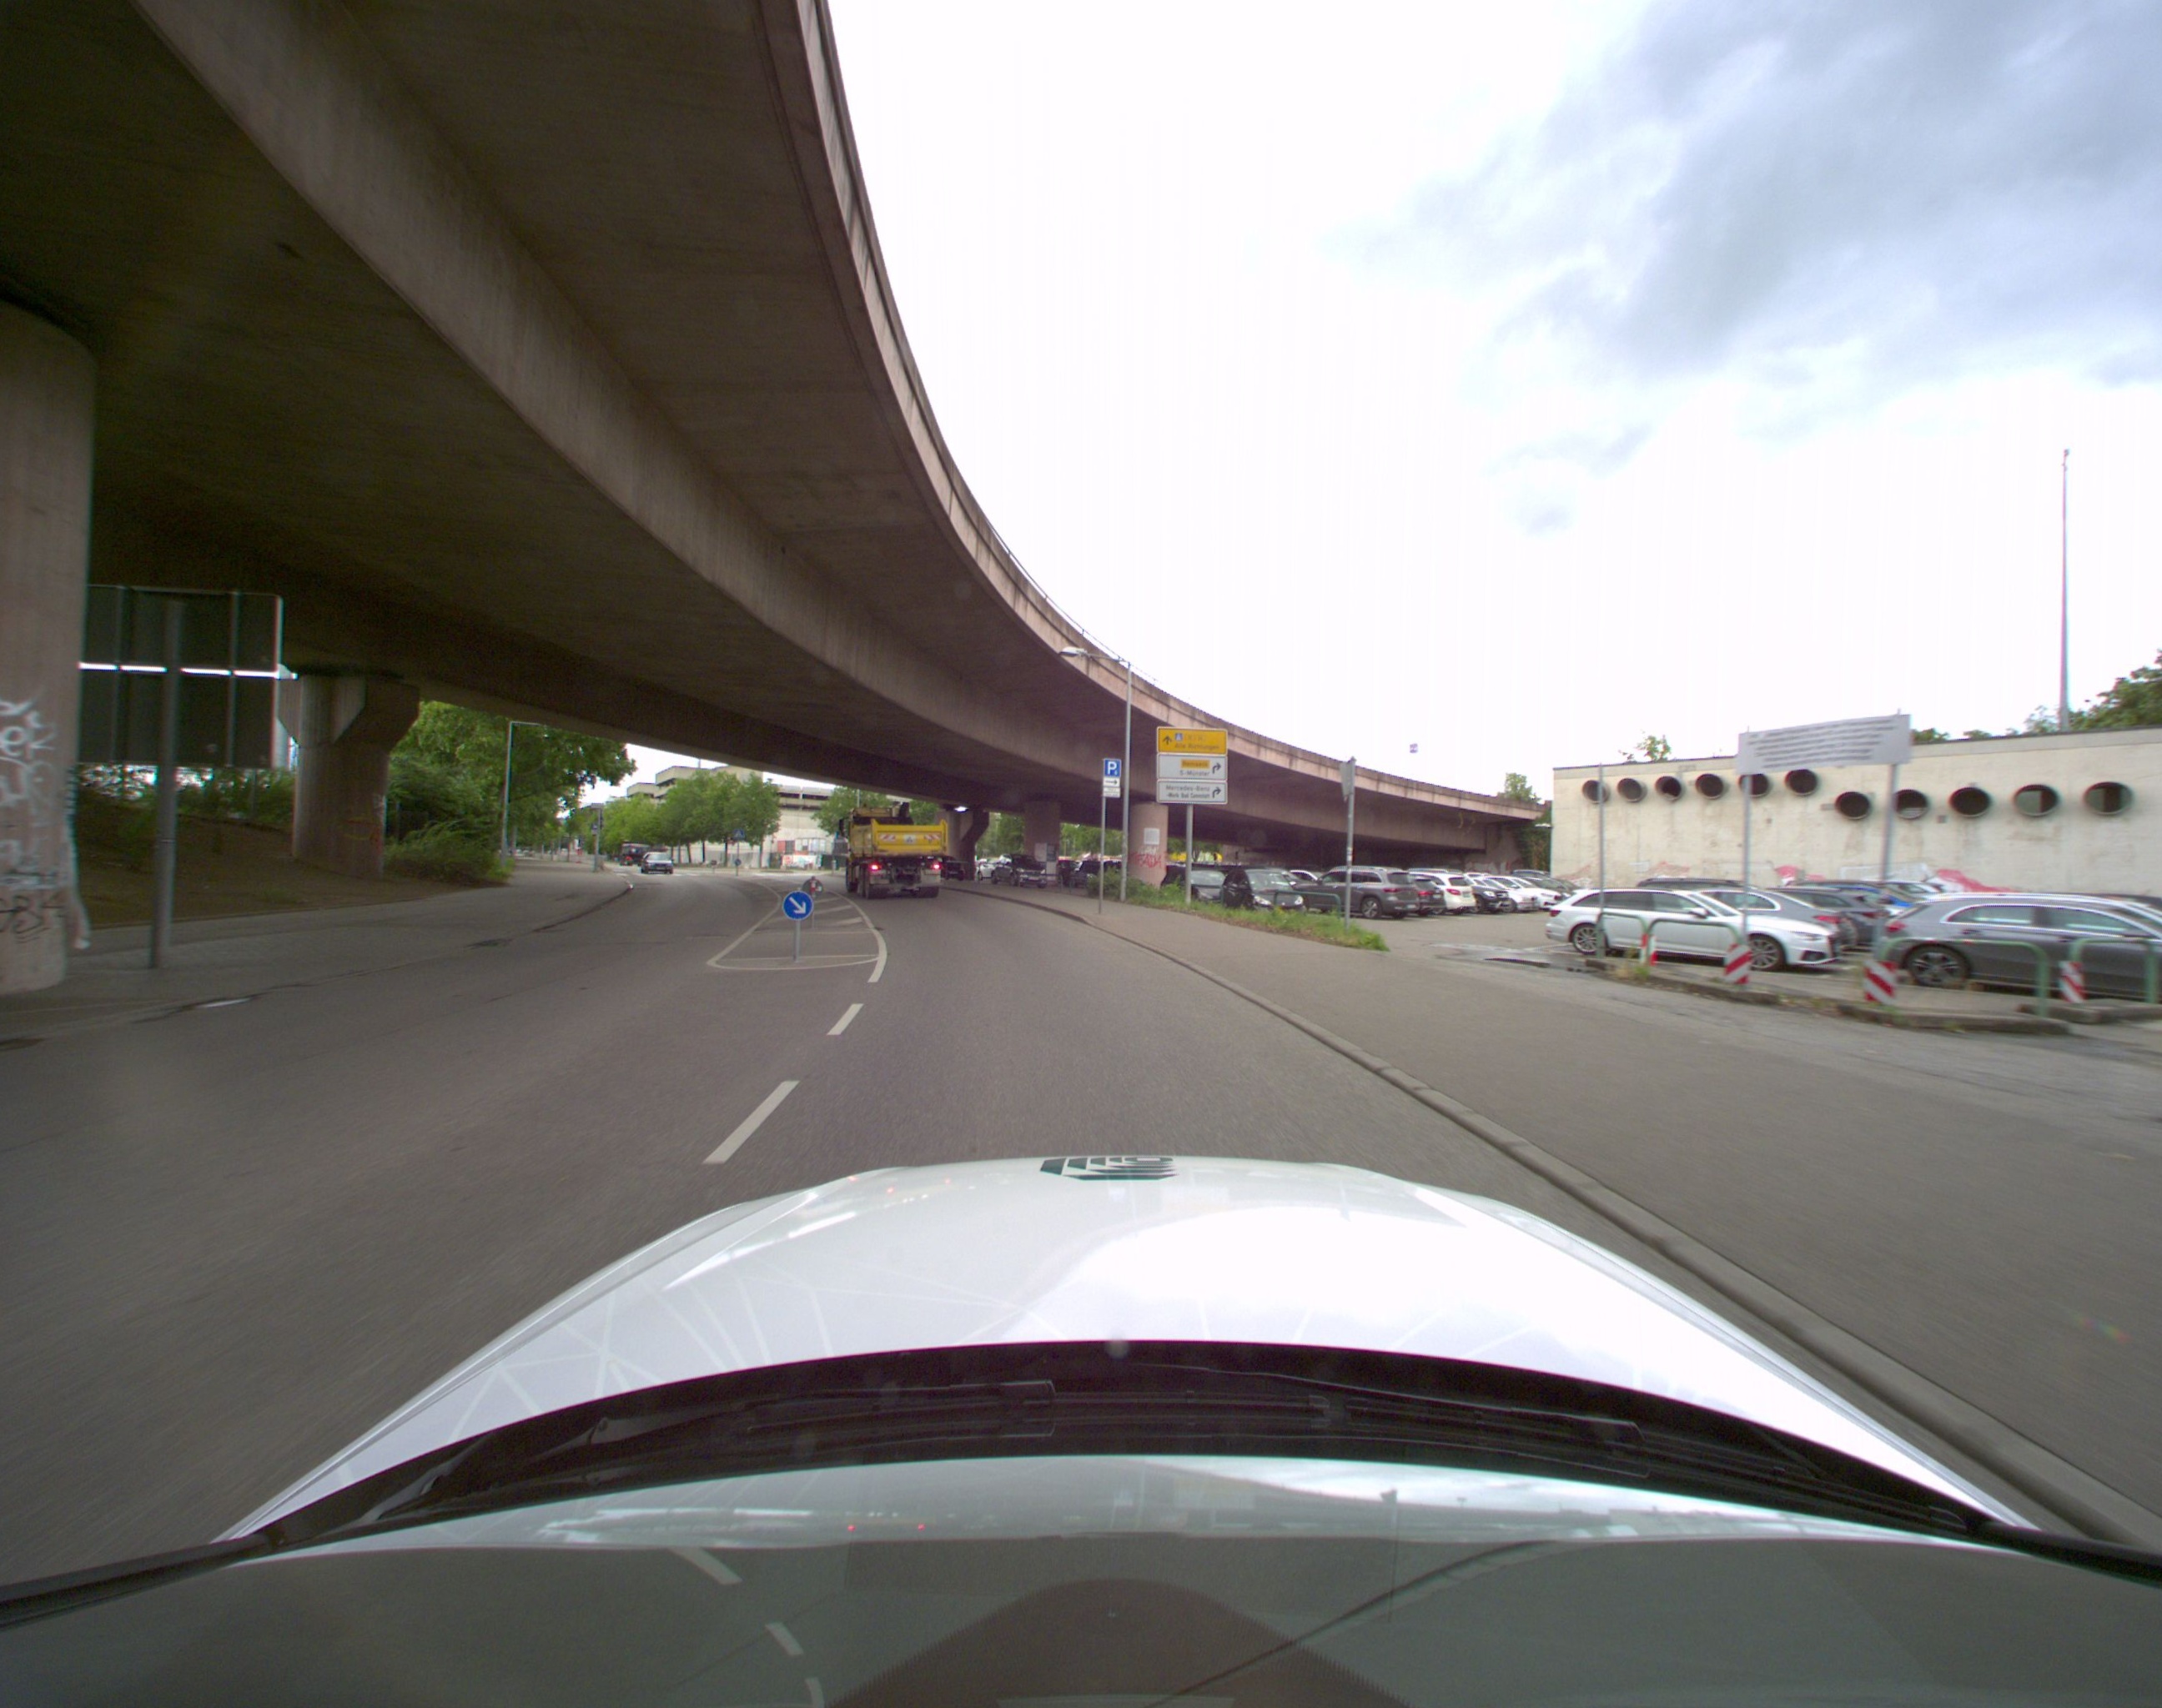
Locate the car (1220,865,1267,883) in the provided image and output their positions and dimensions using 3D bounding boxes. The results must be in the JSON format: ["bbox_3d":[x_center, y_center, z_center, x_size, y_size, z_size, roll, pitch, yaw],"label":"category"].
[{"bbox_3d":[14.519,1.771,72.989,1.768,1.478,3.814,2,-1,-45],"label":"car"}]

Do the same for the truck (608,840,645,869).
[{"bbox_3d":[-58.718,0.111,105.084,2.696,3.558,7.829,-1,-1,-41],"label":"truck"}]

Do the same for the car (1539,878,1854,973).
[{"bbox_3d":[11.909,1.275,16.104,1.866,1.475,4.636,2,-1,-35],"label":"car"}]

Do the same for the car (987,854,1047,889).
[{"bbox_3d":[-3.082,0.820,38.742,1.615,1.533,3.380,4,-2,-27],"label":"car"}]

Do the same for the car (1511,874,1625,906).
[{"bbox_3d":[22.534,1.646,37.838,1.717,1.306,4.213,2,-1,-38],"label":"car"}]

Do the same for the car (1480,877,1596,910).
[{"bbox_3d":[20.493,1.727,36.650,1.717,1.306,4.213,2,-1,-38],"label":"car"}]

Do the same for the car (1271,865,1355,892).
[{"bbox_3d":[15.194,1.574,53.498,2.101,1.677,5.048,2,-1,-38],"label":"car"}]

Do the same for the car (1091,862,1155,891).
[{"bbox_3d":[2.570,1.382,50.287,1.847,1.698,3.818,2,-1,-38],"label":"car"}]

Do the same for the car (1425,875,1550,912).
[{"bbox_3d":[16.755,1.596,33.719,1.639,1.363,4.356,2,-1,-38],"label":"car"}]

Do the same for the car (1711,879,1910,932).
[{"bbox_3d":[22.691,1.536,25.485,1.793,1.393,4.386,2,-1,-37],"label":"car"}]

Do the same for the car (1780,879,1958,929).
[{"bbox_3d":[25.429,1.551,26.385,1.777,1.393,3.931,2,-1,-37],"label":"car"}]

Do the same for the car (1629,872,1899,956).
[{"bbox_3d":[15.872,1.292,19.165,1.867,1.628,4.569,2,-1,-37],"label":"car"}]

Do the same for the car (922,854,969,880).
[{"bbox_3d":[-7.846,0.755,47.073,1.615,1.397,3.547,4,-2,-27],"label":"car"}]

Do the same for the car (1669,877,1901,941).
[{"bbox_3d":[19.295,1.430,22.517,1.867,1.444,4.569,2,-1,-37],"label":"car"}]

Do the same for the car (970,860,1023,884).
[{"bbox_3d":[-5.951,1.252,56.884,1.647,1.552,3.963,2,-1,-41],"label":"car"}]

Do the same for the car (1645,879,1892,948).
[{"bbox_3d":[17.453,1.437,20.900,1.867,1.444,4.569,2,-1,-37],"label":"car"}]

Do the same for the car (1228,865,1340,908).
[{"bbox_3d":[8.183,1.274,33.059,1.847,1.593,4.144,2,-1,-38],"label":"car"}]

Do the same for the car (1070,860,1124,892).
[{"bbox_3d":[0.797,1.173,42.546,1.788,1.507,3.839,3,-3,-15],"label":"car"}]

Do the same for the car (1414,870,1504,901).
[{"bbox_3d":[20.802,1.701,44.963,1.847,1.593,4.144,2,-1,-38],"label":"car"}]

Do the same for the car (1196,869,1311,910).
[{"bbox_3d":[6.638,1.328,31.606,1.847,1.421,4.144,2,-1,-38],"label":"car"}]

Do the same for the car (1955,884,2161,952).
[{"bbox_3d":[24.640,1.520,19.815,1.847,1.425,4.394,2,-1,-35],"label":"car"}]

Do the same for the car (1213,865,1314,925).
[{"bbox_3d":[4.750,1.038,21.562,1.541,1.479,2.747,1,-1,-14],"label":"car"}]

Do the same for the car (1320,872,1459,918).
[{"bbox_3d":[10.985,1.412,29.303,1.765,1.449,4.408,2,-1,-38],"label":"car"}]

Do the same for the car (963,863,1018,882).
[{"bbox_3d":[-7.275,1.514,65.559,4.269,1.420,1.493,3,0,-40],"label":"car"}]

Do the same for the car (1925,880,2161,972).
[{"bbox_3d":[19.181,1.314,15.269,1.847,1.513,4.452,2,-1,-35],"label":"car"}]

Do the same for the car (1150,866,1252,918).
[{"bbox_3d":[3.692,1.143,25.909,1.732,1.479,4.229,1,-1,-14],"label":"car"}]

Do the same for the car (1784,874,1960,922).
[{"bbox_3d":[28.964,1.563,29.942,1.777,1.533,4.438,2,-1,-37],"label":"car"}]

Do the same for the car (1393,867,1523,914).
[{"bbox_3d":[14.908,1.402,32.432,1.765,1.691,4.382,2,-1,-38],"label":"car"}]

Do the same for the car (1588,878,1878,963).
[{"bbox_3d":[14.001,1.327,17.766,1.867,1.475,4.634,2,-1,-37],"label":"car"}]

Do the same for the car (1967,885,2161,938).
[{"bbox_3d":[31.104,1.742,25.478,1.847,1.425,4.394,2,-1,-35],"label":"car"}]

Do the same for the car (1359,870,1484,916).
[{"bbox_3d":[12.886,1.431,31.011,1.765,1.557,4.041,2,-1,-38],"label":"car"}]

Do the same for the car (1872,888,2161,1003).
[{"bbox_3d":[14.879,1.303,11.985,1.847,1.425,4.394,2,-1,-35],"label":"car"}]

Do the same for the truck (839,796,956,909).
[{"bbox_3d":[-7.165,-0.003,30.838,2.771,3.698,7.816,-1,-1,-24],"label":"truck"}]

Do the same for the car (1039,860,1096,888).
[{"bbox_3d":[-0.823,1.158,47.229,1.537,1.500,3.336,5,-3,-38],"label":"car"}]

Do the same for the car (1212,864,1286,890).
[{"bbox_3d":[10.001,1.364,48.774,1.847,1.466,4.144,2,-1,-38],"label":"car"}]

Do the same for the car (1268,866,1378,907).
[{"bbox_3d":[10.165,1.326,34.477,1.847,1.593,4.144,2,-1,-38],"label":"car"}]

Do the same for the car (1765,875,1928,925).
[{"bbox_3d":[26.724,1.563,28.538,1.777,1.533,3.931,2,-1,-37],"label":"car"}]

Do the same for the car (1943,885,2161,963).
[{"bbox_3d":[22.640,1.521,18.185,1.847,1.513,4.452,2,-1,-35],"label":"car"}]

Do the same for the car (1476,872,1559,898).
[{"bbox_3d":[26.982,1.897,50.435,1.847,1.409,4.144,2,-1,-38],"label":"car"}]

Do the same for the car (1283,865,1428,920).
[{"bbox_3d":[9.180,1.241,27.560,1.754,1.675,4.419,2,-1,-38],"label":"car"}]

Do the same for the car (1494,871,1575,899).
[{"bbox_3d":[28.850,1.950,51.885,1.847,1.688,4.144,2,-1,-38],"label":"car"}]

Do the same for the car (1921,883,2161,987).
[{"bbox_3d":[17.182,1.315,13.412,1.847,1.513,4.452,2,-1,-35],"label":"car"}]

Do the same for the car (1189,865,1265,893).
[{"bbox_3d":[8.348,1.401,46.895,1.847,1.466,4.144,2,-1,-38],"label":"car"}]

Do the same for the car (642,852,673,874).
[{"bbox_3d":[-28.080,0.592,54.075,1.685,1.430,3.966,2,-1,-26],"label":"car"}]

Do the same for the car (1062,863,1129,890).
[{"bbox_3d":[0.823,1.332,48.647,1.845,1.470,4.334,3,-2,-34],"label":"car"}]

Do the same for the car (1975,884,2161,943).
[{"bbox_3d":[28.379,1.625,22.765,1.847,1.425,4.394,2,-1,-35],"label":"car"}]

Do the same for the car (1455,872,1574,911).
[{"bbox_3d":[18.642,1.559,35.186,1.717,1.509,4.213,2,-1,-38],"label":"car"}]
